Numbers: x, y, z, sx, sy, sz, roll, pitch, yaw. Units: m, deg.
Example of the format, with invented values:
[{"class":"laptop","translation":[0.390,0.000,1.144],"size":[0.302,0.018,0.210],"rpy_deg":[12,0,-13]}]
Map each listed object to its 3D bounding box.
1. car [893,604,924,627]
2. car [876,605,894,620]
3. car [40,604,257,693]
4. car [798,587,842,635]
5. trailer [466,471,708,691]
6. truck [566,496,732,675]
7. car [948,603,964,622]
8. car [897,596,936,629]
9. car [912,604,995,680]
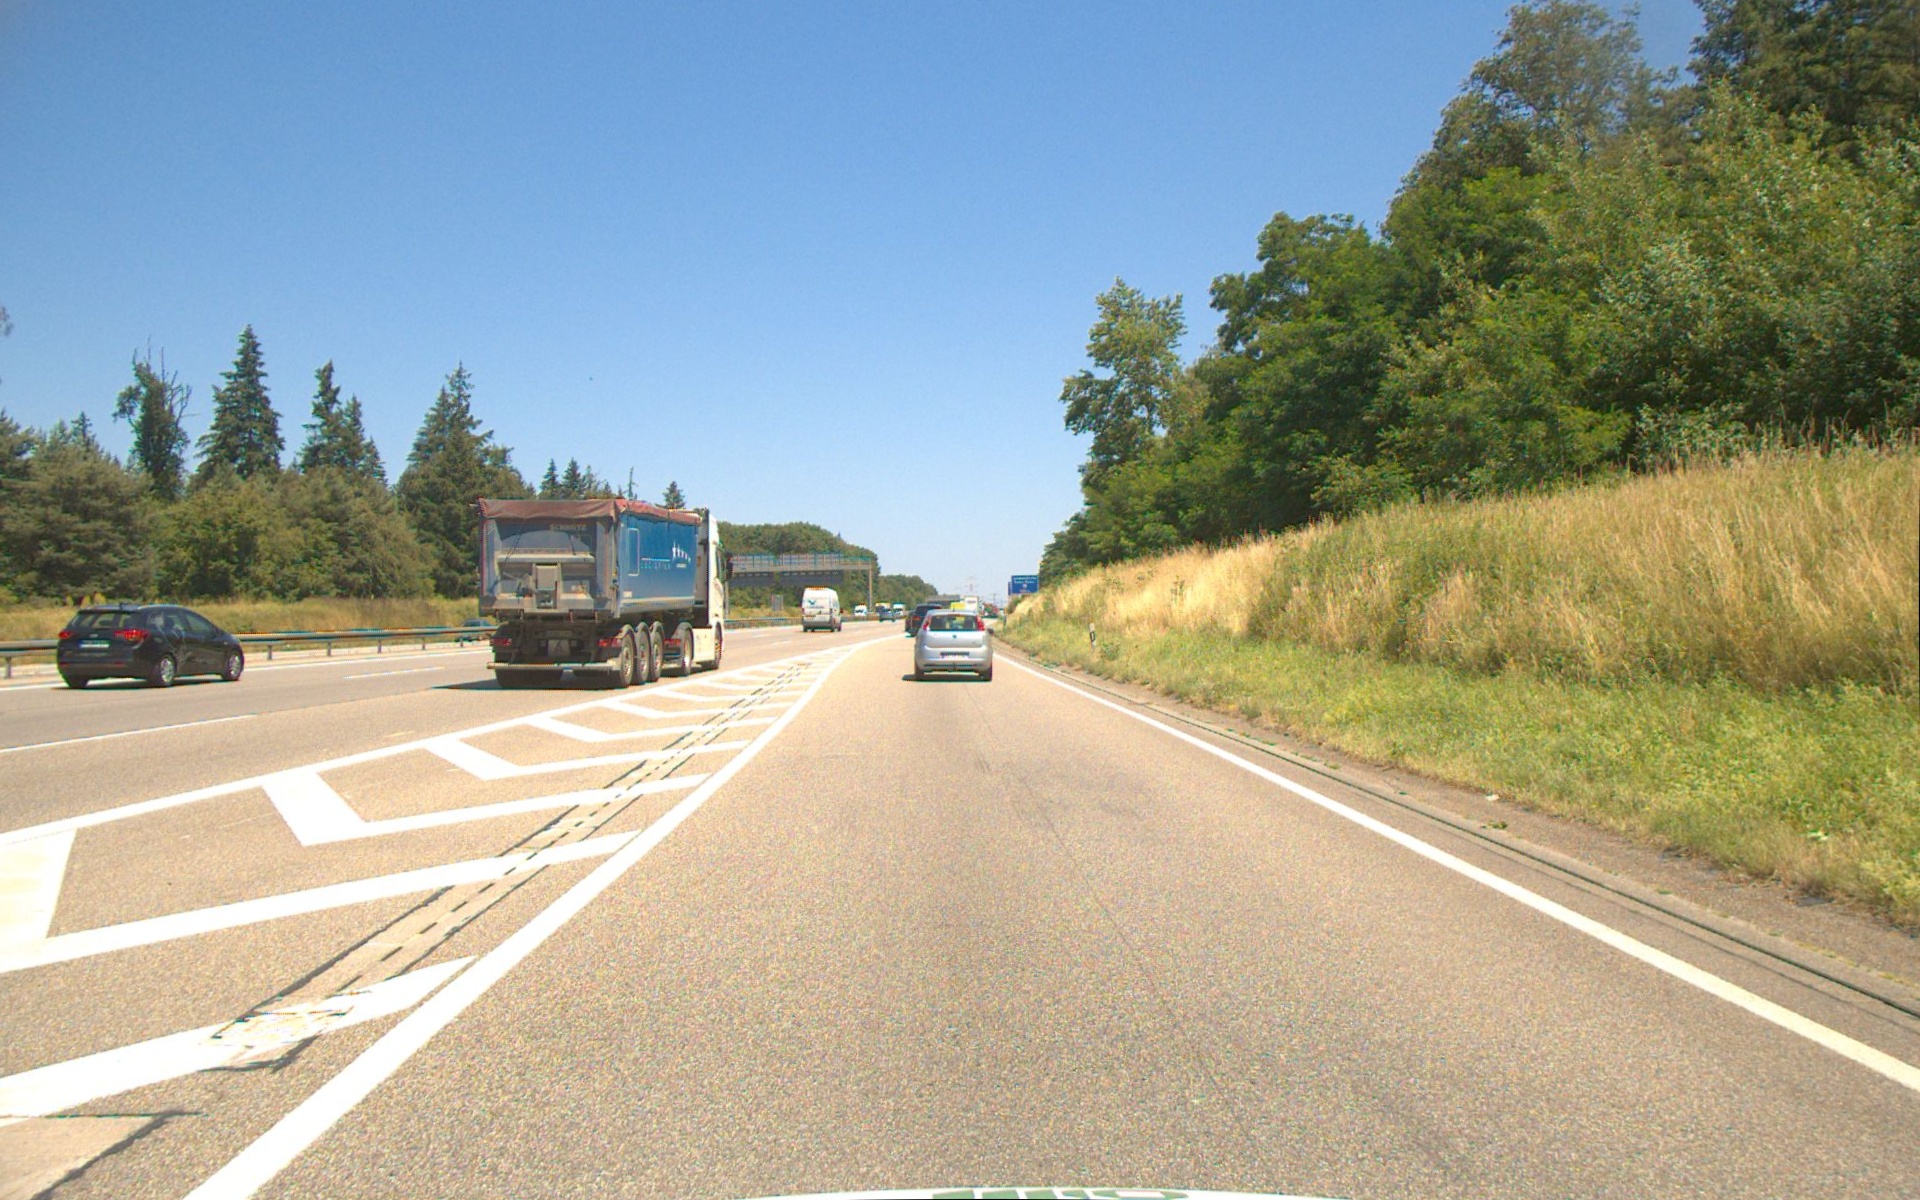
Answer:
[{"class":"car","translation":[-3.450,1.061,111.839],"size":[1.855,1.495,4.261],"rpy_deg":[1,0,1]},{"class":"car","translation":[-9.495,1.565,210.058],"size":[2.112,1.846,4.859],"rpy_deg":[0,0,0]},{"class":"car","translation":[-15.019,0.853,30.915],"size":[1.668,1.500,4.598],"rpy_deg":[-1,0,2]},{"class":"car","translation":[-9.088,0.737,108.180],"size":[2.213,3.002,6.114],"rpy_deg":[1,0,1]},{"class":"trailer","translation":[-7.189,-0.333,33.355],"size":[2.680,3.824,9.110],"rpy_deg":[0,0,1]},{"class":"truck","translation":[-7.085,-0.307,38.464],"size":[2.629,3.824,5.944],"rpy_deg":[0,0,1]},{"class":"car","translation":[-0.409,1.323,178.572],"size":[1.579,2.049,3.999],"rpy_deg":[1,0,-2]},{"class":"car","translation":[-2.346,0.699,89.836],"size":[1.793,1.701,4.001],"rpy_deg":[1,-1,3]},{"class":"car","translation":[-0.135,0.866,35.791],"size":[1.684,1.518,3.737],"rpy_deg":[0,0,0]}]
